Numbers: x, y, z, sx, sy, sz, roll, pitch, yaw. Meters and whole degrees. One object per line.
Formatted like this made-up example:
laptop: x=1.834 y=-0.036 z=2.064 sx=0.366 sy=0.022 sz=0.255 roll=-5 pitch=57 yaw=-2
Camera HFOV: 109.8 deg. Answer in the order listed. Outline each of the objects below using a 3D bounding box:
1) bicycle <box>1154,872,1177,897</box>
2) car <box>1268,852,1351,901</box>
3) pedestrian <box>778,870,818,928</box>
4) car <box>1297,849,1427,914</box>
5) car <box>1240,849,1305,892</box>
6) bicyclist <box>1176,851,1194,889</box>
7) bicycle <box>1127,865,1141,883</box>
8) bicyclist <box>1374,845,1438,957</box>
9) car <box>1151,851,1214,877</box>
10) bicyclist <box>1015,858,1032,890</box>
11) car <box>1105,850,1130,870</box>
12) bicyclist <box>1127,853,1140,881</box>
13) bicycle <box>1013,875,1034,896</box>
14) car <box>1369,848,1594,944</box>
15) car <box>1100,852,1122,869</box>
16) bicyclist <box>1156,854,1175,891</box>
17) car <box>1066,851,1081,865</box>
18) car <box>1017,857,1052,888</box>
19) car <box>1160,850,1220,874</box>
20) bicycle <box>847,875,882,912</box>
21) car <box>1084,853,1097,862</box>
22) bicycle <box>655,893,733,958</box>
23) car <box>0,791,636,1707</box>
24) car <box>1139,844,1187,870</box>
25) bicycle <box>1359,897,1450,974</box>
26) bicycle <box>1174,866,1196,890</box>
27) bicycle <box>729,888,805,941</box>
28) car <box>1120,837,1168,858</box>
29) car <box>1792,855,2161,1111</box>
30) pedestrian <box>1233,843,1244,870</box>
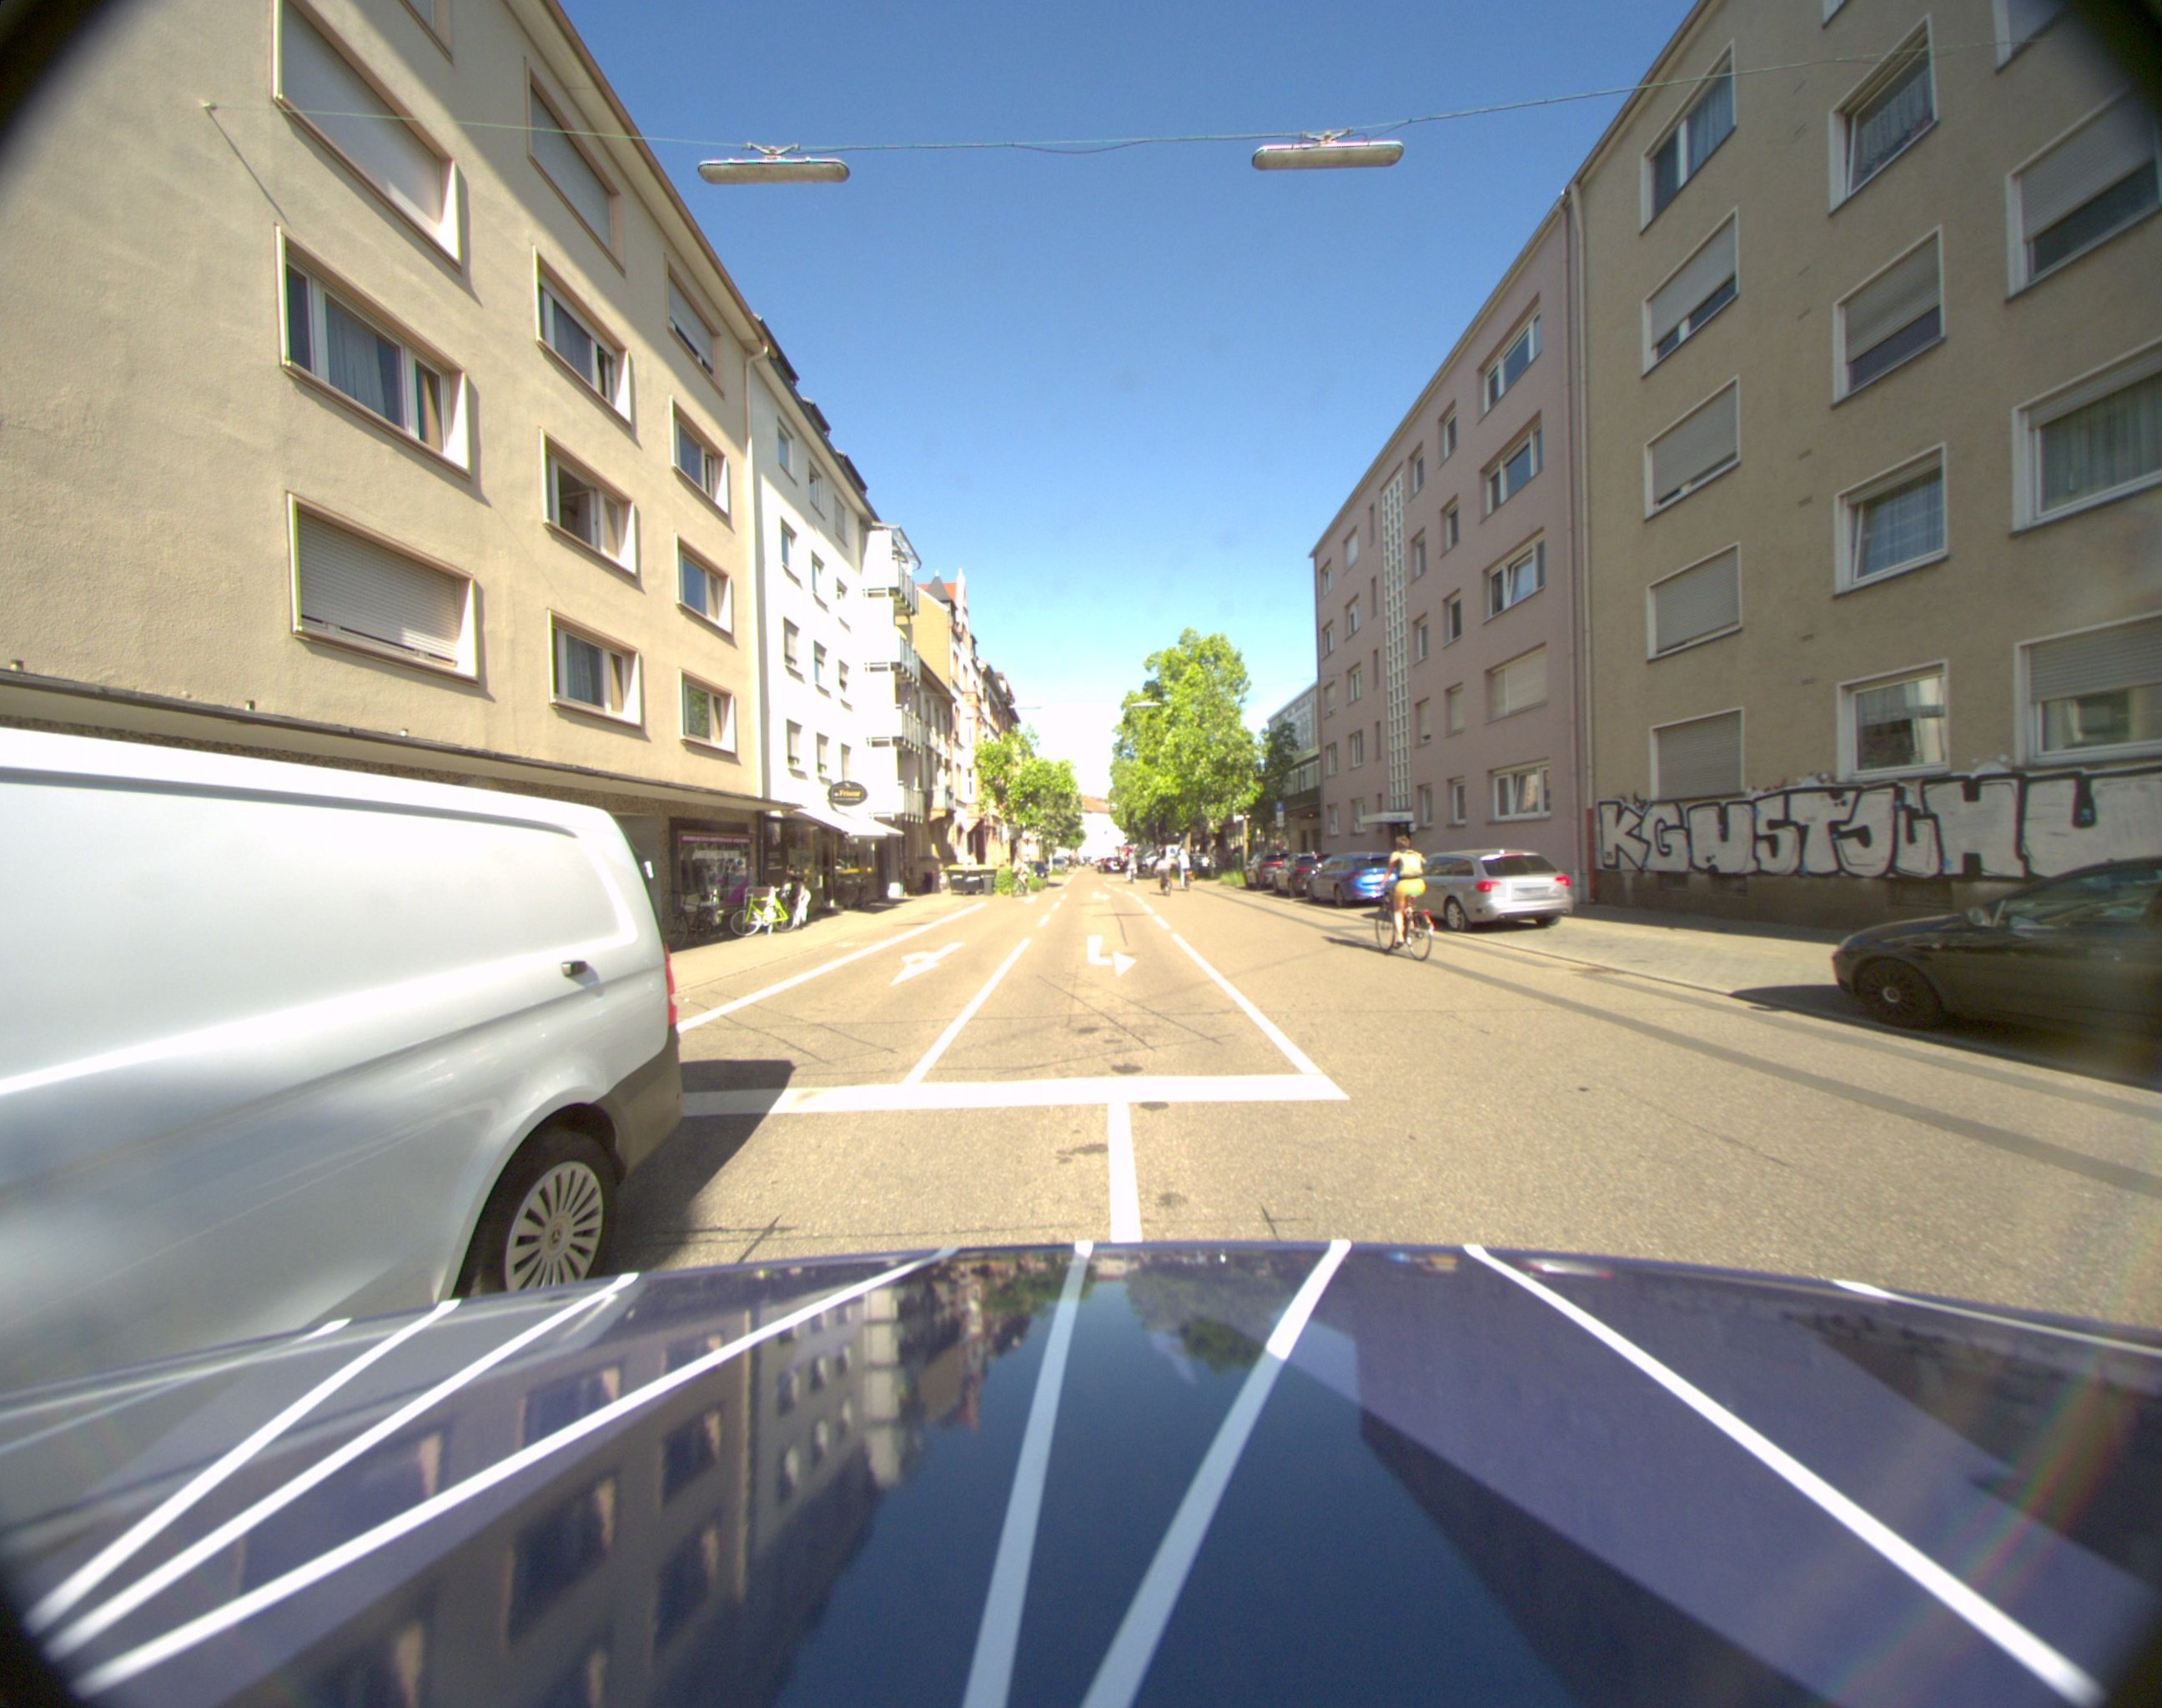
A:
bicycle: x=3.257 y=1.162 z=29.381 sx=0.544 sy=0.897 sz=1.825 roll=-2 pitch=0 yaw=-5
car: x=7.817 y=0.709 z=26.404 sx=1.727 sy=1.459 sz=4.158 roll=-4 pitch=0 yaw=3
pedestrian: x=-7.278 y=1.145 z=19.585 sx=0.775 sy=1.434 sz=0.625 roll=-2 pitch=1 yaw=-4
car: x=7.741 y=0.690 z=21.497 sx=1.828 sy=1.494 sz=4.801 roll=-4 pitch=0 yaw=0
car: x=7.901 y=0.653 z=31.723 sx=1.727 sy=1.567 sz=4.158 roll=-4 pitch=0 yaw=3
bicyclist: x=4.458 y=0.693 z=32.643 sx=0.681 sy=1.621 sz=0.899 roll=0 pitch=1 yaw=1
bicycle: x=2.957 y=1.131 z=42.555 sx=0.681 sy=0.946 sz=1.934 roll=0 pitch=0 yaw=1
bicyclist: x=4.582 y=0.641 z=10.742 sx=0.544 sy=1.512 sz=0.774 roll=-2 pitch=1 yaw=1
car: x=6.687 y=0.651 z=50.399 sx=3.996 sy=1.543 sz=1.913 roll=-2 pitch=0 yaw=3
bicyclist: x=-2.494 y=0.852 z=32.790 sx=0.582 sy=1.369 sz=0.665 roll=-2 pitch=1 yaw=6
car: x=3.016 y=0.499 z=64.022 sx=1.911 sy=1.543 sz=4.000 roll=-2 pitch=0 yaw=1
bicyclist: x=2.957 y=0.710 z=42.732 sx=0.681 sy=1.567 sz=0.899 roll=0 pitch=1 yaw=1
bicycle: x=-2.479 y=1.363 z=32.811 sx=0.582 sy=0.801 sz=1.710 roll=-2 pitch=0 yaw=6
car: x=7.586 y=0.696 z=15.052 sx=1.828 sy=1.494 sz=4.801 roll=-4 pitch=0 yaw=0
car: x=2.860 y=0.570 z=73.001 sx=1.911 sy=1.543 sz=4.000 roll=-2 pitch=0 yaw=1
bicyclist: x=3.256 y=0.688 z=29.236 sx=0.544 sy=1.383 sz=0.788 roll=-2 pitch=1 yaw=-4
car: x=-0.903 y=0.449 z=92.110 sx=1.627 sy=1.586 sz=3.547 roll=-2 pitch=0 yaw=1
car: x=-2.611 y=1.021 z=43.142 sx=1.627 sy=1.586 sz=3.547 roll=-2 pitch=0 yaw=1
car: x=7.682 y=0.536 z=53.674 sx=3.996 sy=1.543 sz=1.913 roll=-2 pitch=0 yaw=3
bicycle: x=-7.161 y=1.292 z=25.219 sx=0.598 sy=1.137 sz=1.774 roll=1 pitch=0 yaw=1
car: x=1.361 y=0.460 z=103.879 sx=1.627 sy=1.270 sz=3.547 roll=-2 pitch=0 yaw=3
bicycle: x=-7.479 y=1.356 z=14.771 sx=0.407 sy=1.078 sz=1.801 roll=1 pitch=0 yaw=6
car: x=-2.759 y=0.831 z=0.547 sx=1.973 sy=1.800 sz=4.832 roll=-2 pitch=1 yaw=0
car: x=6.928 y=0.273 z=64.527 sx=3.875 sy=2.031 sz=1.913 roll=-2 pitch=0 yaw=3
bicycle: x=4.603 y=1.123 z=10.923 sx=0.544 sy=0.897 sz=1.826 roll=-2 pitch=0 yaw=1
bicycle: x=4.458 y=1.037 z=32.689 sx=0.681 sy=0.946 sz=1.934 roll=1 pitch=0 yaw=1
bicycle: x=-7.248 y=1.369 z=17.543 sx=1.497 sy=1.100 sz=0.722 roll=-2 pitch=0 yaw=-31
car: x=7.622 y=-0.746 z=92.338 sx=5.560 sy=2.379 sz=1.977 roll=-2 pitch=0 yaw=-5
car: x=7.339 y=0.782 z=4.964 sx=1.695 sy=1.440 sz=3.856 roll=-4 pitch=0 yaw=0
pedestrian: x=10.395 y=0.164 z=50.104 sx=0.623 sy=1.795 sz=0.502 roll=-2 pitch=1 yaw=2
